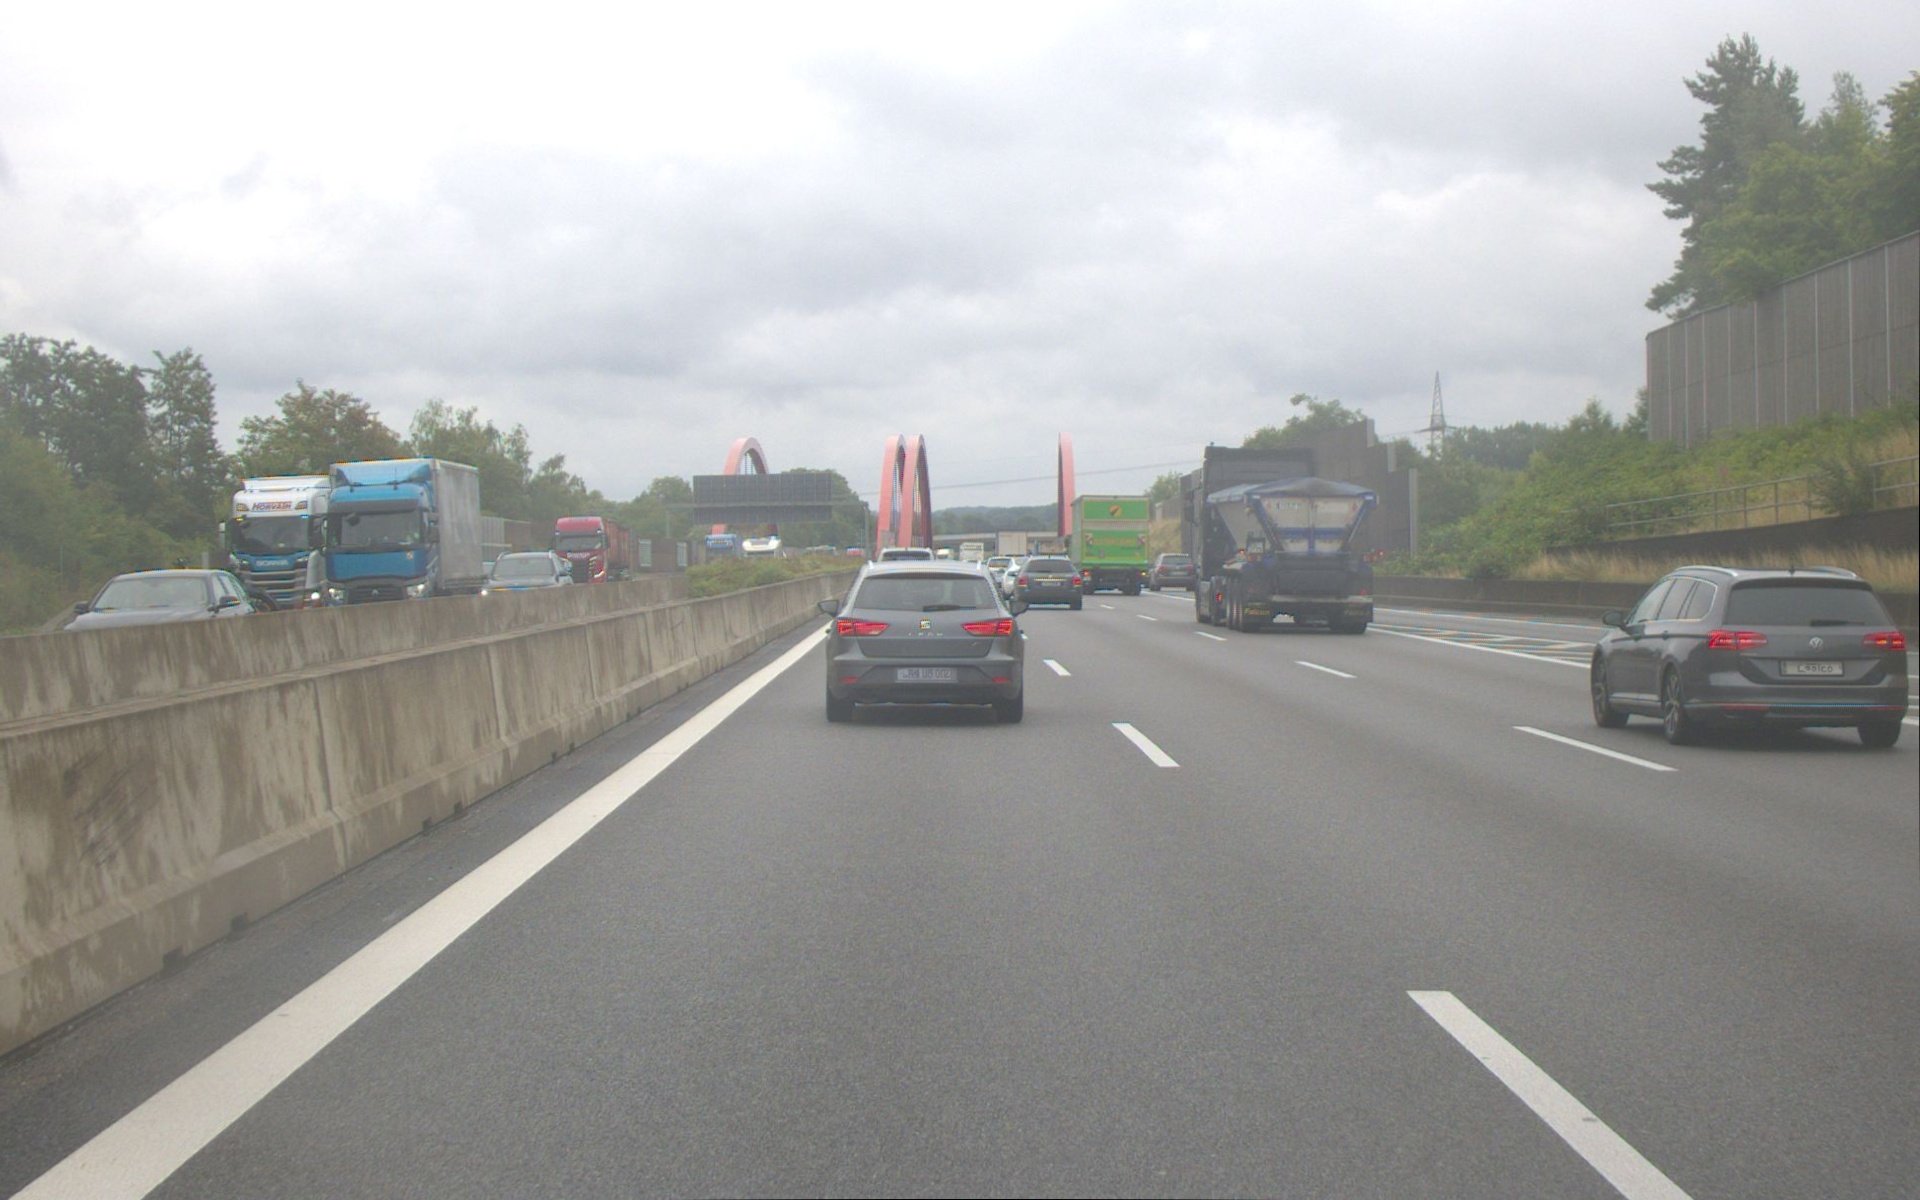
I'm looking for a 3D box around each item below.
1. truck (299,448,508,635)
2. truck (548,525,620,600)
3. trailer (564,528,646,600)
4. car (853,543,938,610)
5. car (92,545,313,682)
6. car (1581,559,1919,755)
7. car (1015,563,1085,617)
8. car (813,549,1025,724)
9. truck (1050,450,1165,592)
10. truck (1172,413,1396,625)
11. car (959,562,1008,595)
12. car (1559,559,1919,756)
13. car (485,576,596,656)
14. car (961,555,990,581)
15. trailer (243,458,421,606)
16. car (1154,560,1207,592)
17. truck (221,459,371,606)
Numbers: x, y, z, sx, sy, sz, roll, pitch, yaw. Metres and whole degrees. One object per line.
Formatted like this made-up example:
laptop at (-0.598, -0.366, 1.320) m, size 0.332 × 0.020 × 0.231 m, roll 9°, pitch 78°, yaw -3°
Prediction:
truck at (-13.898, -1.432, 87.044) m, size 3.151 × 4.310 × 12.680 m, roll 1°, pitch 0°, yaw 0°
truck at (-19.043, -1.899, 174.533) m, size 2.696 × 3.694 × 6.480 m, roll 1°, pitch 0°, yaw 1°
trailer at (-18.826, -1.953, 182.932) m, size 2.727 × 3.671 × 12.563 m, roll 0°, pitch 1°, yaw 1°
car at (-1.558, -0.579, 83.355) m, size 1.993 × 1.579 × 4.000 m, roll 0°, pitch 1°, yaw -1°
car at (-9.858, 0.134, 45.065) m, size 1.972 × 1.684 × 4.358 m, roll 0°, pitch 1°, yaw -1°
car at (6.431, 0.414, 28.413) m, size 1.663 × 1.451 × 4.471 m, roll 1°, pitch 0°, yaw -1°
car at (2.411, -0.285, 93.055) m, size 1.782 × 1.401 × 3.626 m, roll 1°, pitch 1°, yaw 0°
car at (-0.395, 0.284, 30.918) m, size 1.763 × 1.448 × 4.000 m, roll 1°, pitch 1°, yaw -1°
truck at (5.708, -3.005, 135.085) m, size 3.997 × 5.248 × 11.219 m, roll 1°, pitch 0°, yaw 0°
truck at (6.464, -1.565, 70.809) m, size 3.089 × 3.937 × 12.946 m, roll -1°, pitch 0°, yaw -1°
car at (0.982, -0.912, 145.405) m, size 1.993 × 1.349 × 4.000 m, roll 0°, pitch 1°, yaw -1°
car at (6.488, 0.407, 28.756) m, size 1.939 × 1.422 × 5.289 m, roll 2°, pitch 1°, yaw -1°
car at (-9.591, 0.335, 78.948) m, size 1.993 × 1.730 × 5.002 m, roll 0°, pitch 1°, yaw -1°
car at (1.113, -2.324, 247.137) m, size 1.993 × 1.809 × 4.000 m, roll 1°, pitch 1°, yaw 0°
trailer at (-17.747, -1.908, 98.013) m, size 2.903 × 3.922 × 12.444 m, roll -1°, pitch 1°, yaw -1°
car at (9.497, -1.045, 148.245) m, size 1.993 × 1.349 × 4.000 m, roll 0°, pitch 1°, yaw -1°
truck at (-17.655, -1.784, 91.735) m, size 2.888 × 3.783 × 5.890 m, roll 0°, pitch 1°, yaw 0°
